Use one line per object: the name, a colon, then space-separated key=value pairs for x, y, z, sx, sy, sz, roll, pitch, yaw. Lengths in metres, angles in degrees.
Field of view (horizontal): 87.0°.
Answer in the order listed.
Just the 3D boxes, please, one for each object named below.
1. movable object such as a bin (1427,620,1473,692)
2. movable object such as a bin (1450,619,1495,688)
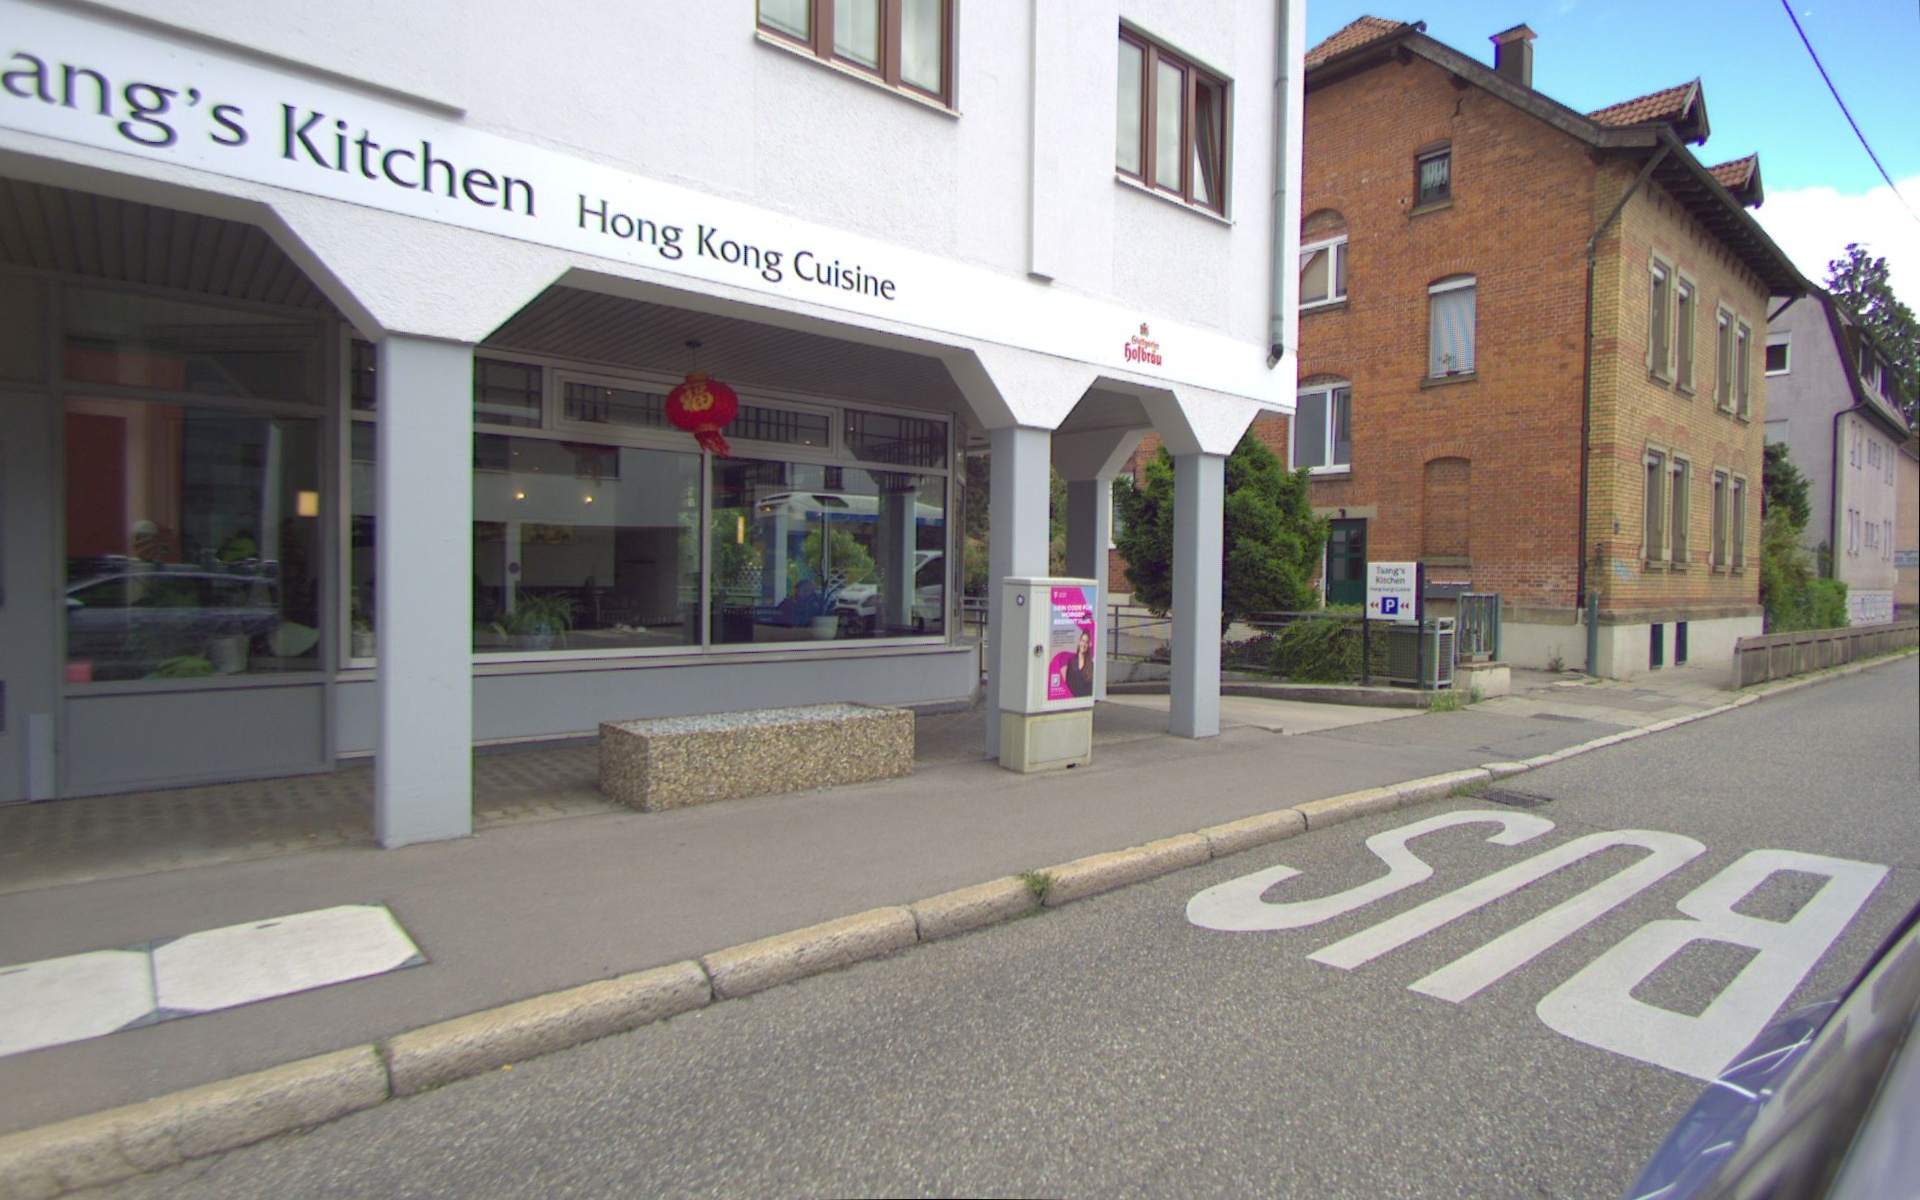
movable object such as a bin: x=6.586 y=0.745 z=13.614 sx=0.448 sy=0.915 sz=0.398 roll=0 pitch=1 yaw=-41
movable object such as a bin: x=7.070 y=0.730 z=13.966 sx=0.448 sy=0.915 sz=0.398 roll=0 pitch=1 yaw=-41
